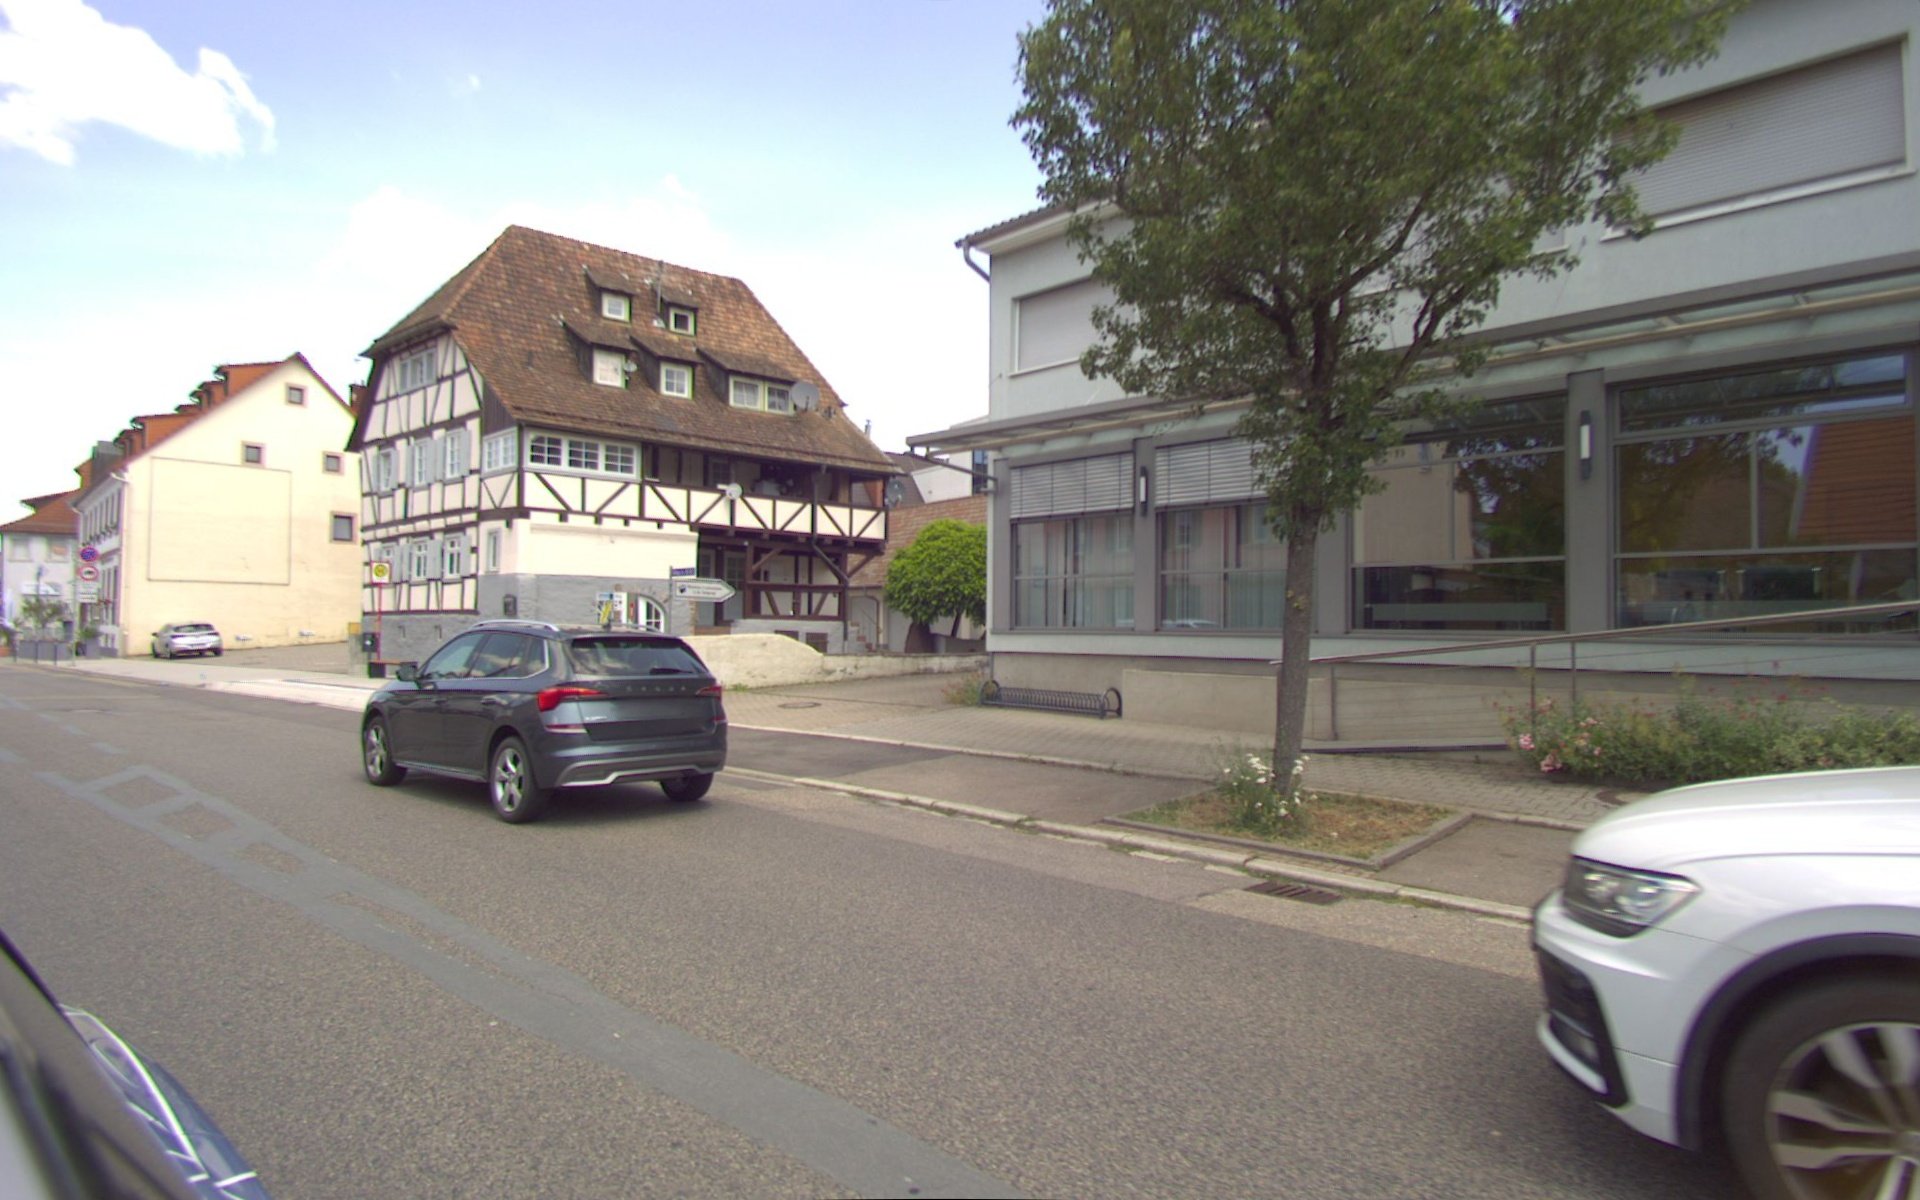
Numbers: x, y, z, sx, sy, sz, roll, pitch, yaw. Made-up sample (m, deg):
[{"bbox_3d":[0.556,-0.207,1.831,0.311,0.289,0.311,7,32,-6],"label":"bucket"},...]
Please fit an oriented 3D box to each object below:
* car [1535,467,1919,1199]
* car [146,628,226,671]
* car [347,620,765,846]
[{"bbox_3d":[3.830,0.632,1.725,4.650,1.798,1.933,-2,-4,42],"label":"car"},{"bbox_3d":[-31.519,1.974,41.172,4.274,1.503,1.740,-1,2,42],"label":"car"},{"bbox_3d":[-3.683,1.007,8.902,4.017,1.538,1.725,-2,-5,41],"label":"car"}]
